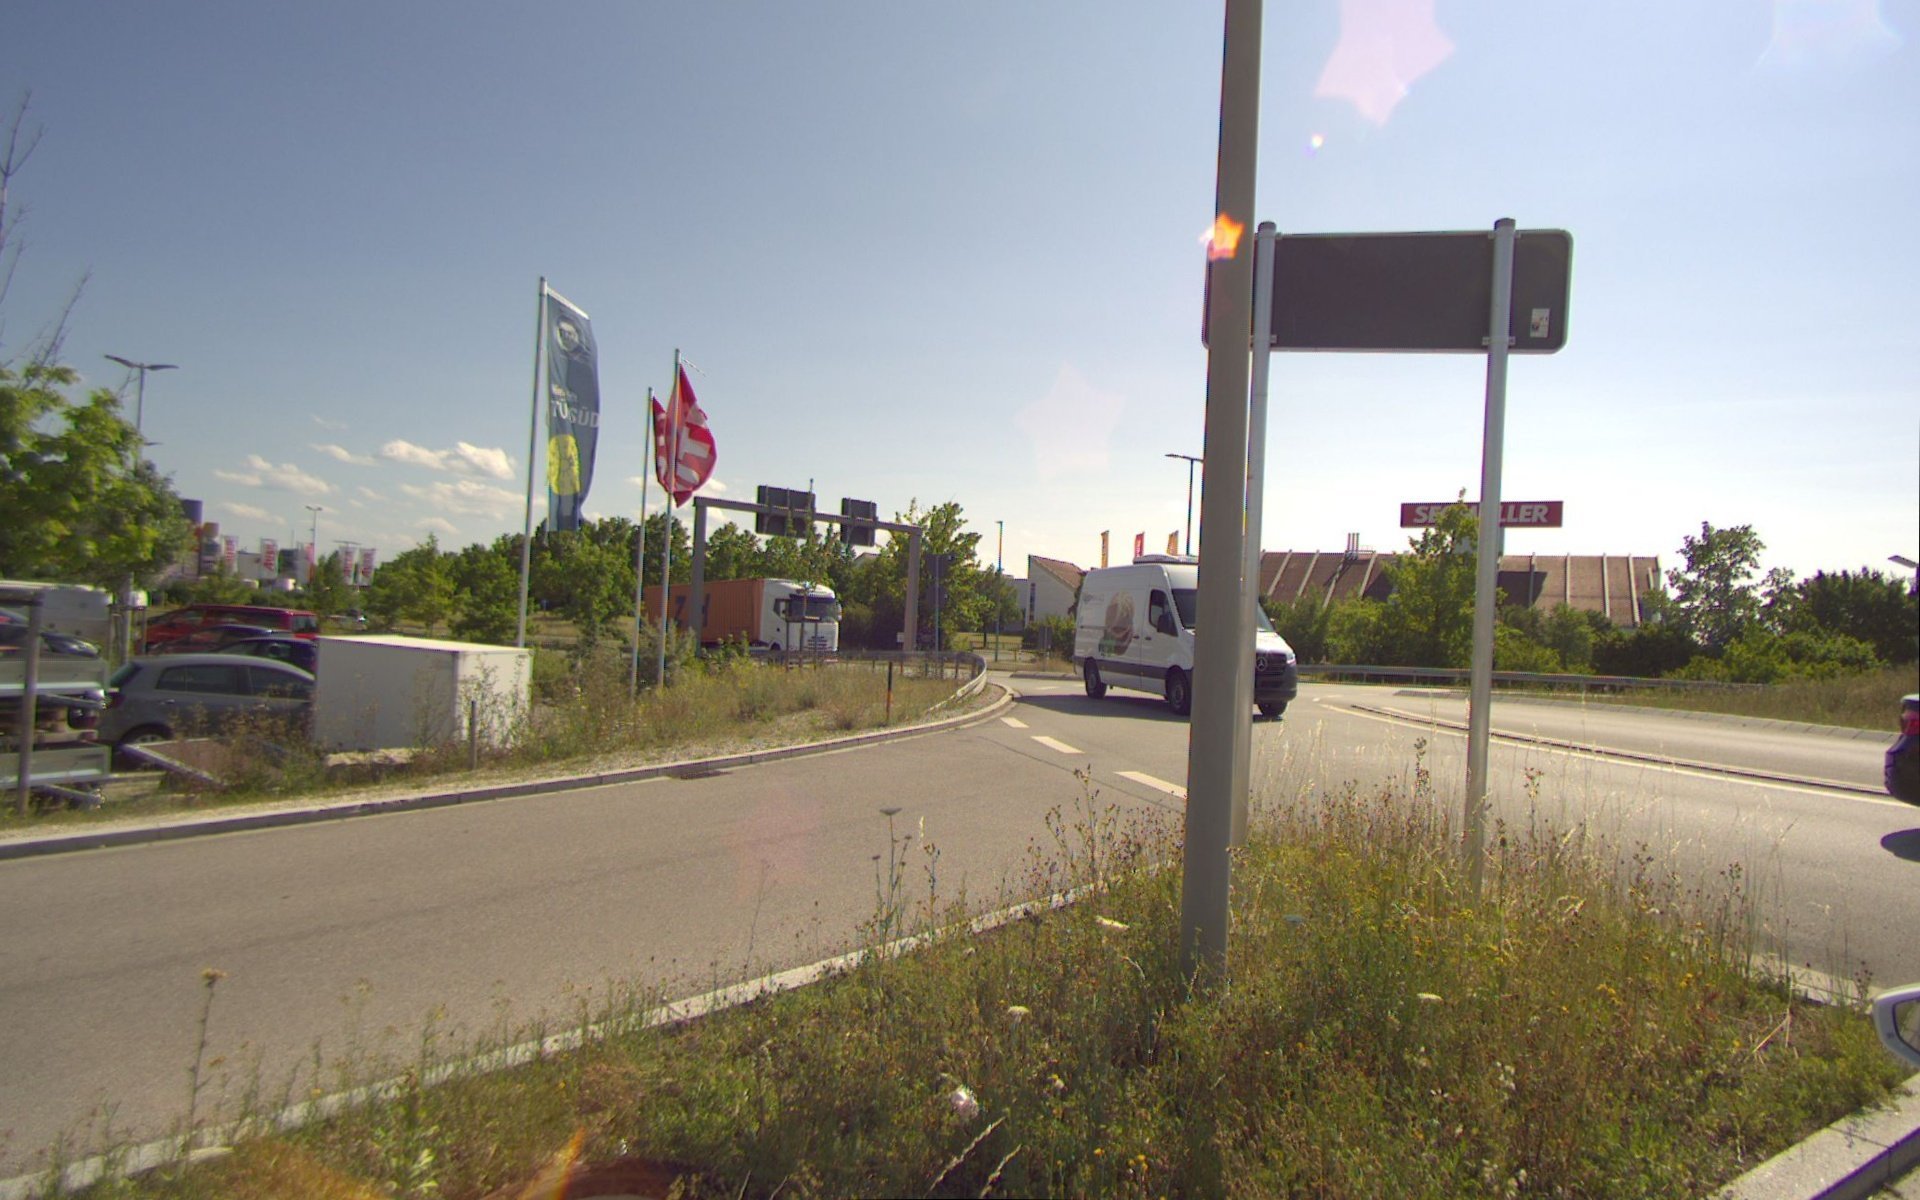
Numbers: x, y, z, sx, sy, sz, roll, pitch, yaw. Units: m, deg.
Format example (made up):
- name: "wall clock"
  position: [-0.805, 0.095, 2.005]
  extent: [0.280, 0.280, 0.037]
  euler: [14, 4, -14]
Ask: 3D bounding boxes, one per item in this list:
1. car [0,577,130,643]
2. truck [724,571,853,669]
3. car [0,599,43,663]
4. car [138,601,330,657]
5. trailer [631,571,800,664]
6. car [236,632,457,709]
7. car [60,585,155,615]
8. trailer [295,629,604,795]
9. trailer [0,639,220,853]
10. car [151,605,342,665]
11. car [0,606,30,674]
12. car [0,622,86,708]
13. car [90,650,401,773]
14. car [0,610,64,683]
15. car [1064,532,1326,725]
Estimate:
- name: "car"
  position: [-30.116, 0.324, 32.991]
  extent: [4.315, 2.040, 1.881]
  euler: [3, 0, -41]
- name: "truck"
  position: [-7.890, 0.844, 45.623]
  extent: [2.644, 4.161, 6.352]
  euler: [2, -1, -43]
- name: "car"
  position: [-24.877, 0.702, 24.143]
  extent: [3.963, 1.483, 1.806]
  euler: [3, 0, -37]
- name: "car"
  position: [-22.083, 0.869, 30.697]
  extent: [4.371, 1.483, 1.824]
  euler: [2, 0, -6]
- name: "trailer"
  position: [-12.669, 0.776, 50.872]
  extent: [2.543, 4.209, 12.202]
  euler: [3, -1, -43]
- name: "car"
  position: [-14.299, 1.637, 23.632]
  extent: [3.926, 1.483, 1.824]
  euler: [4, -2, -6]
- name: "car"
  position: [-72.586, -0.028, 85.578]
  extent: [6.152, 2.264, 2.039]
  euler: [2, 0, -2]
- name: "trailer"
  position: [-7.165, 1.459, 14.169]
  extent: [3.624, 1.795, 1.808]
  euler: [4, 1, 19]
- name: "trailer"
  position: [-10.258, 1.432, 10.901]
  extent: [3.623, 1.795, 1.808]
  euler: [2, 0, 19]
- name: "car"
  position: [-19.935, 0.957, 28.222]
  extent: [3.925, 1.483, 1.824]
  euler: [2, 0, -6]
- name: "car"
  position: [-23.514, 0.840, 22.297]
  extent: [3.963, 1.483, 1.806]
  euler: [3, 0, -37]
- name: "car"
  position: [-17.776, 1.107, 17.368]
  extent: [3.970, 1.483, 1.803]
  euler: [3, -3, -42]
- name: "car"
  position: [-10.912, 1.614, 15.521]
  extent: [3.713, 1.572, 1.724]
  euler: [3, 0, -40]
- name: "car"
  position: [-21.621, 0.944, 21.103]
  extent: [3.963, 1.483, 1.806]
  euler: [3, 0, -37]
- name: "car"
  position: [4.034, 0.559, 18.731]
  extent: [2.050, 2.959, 6.120]
  euler: [2, -2, -15]
